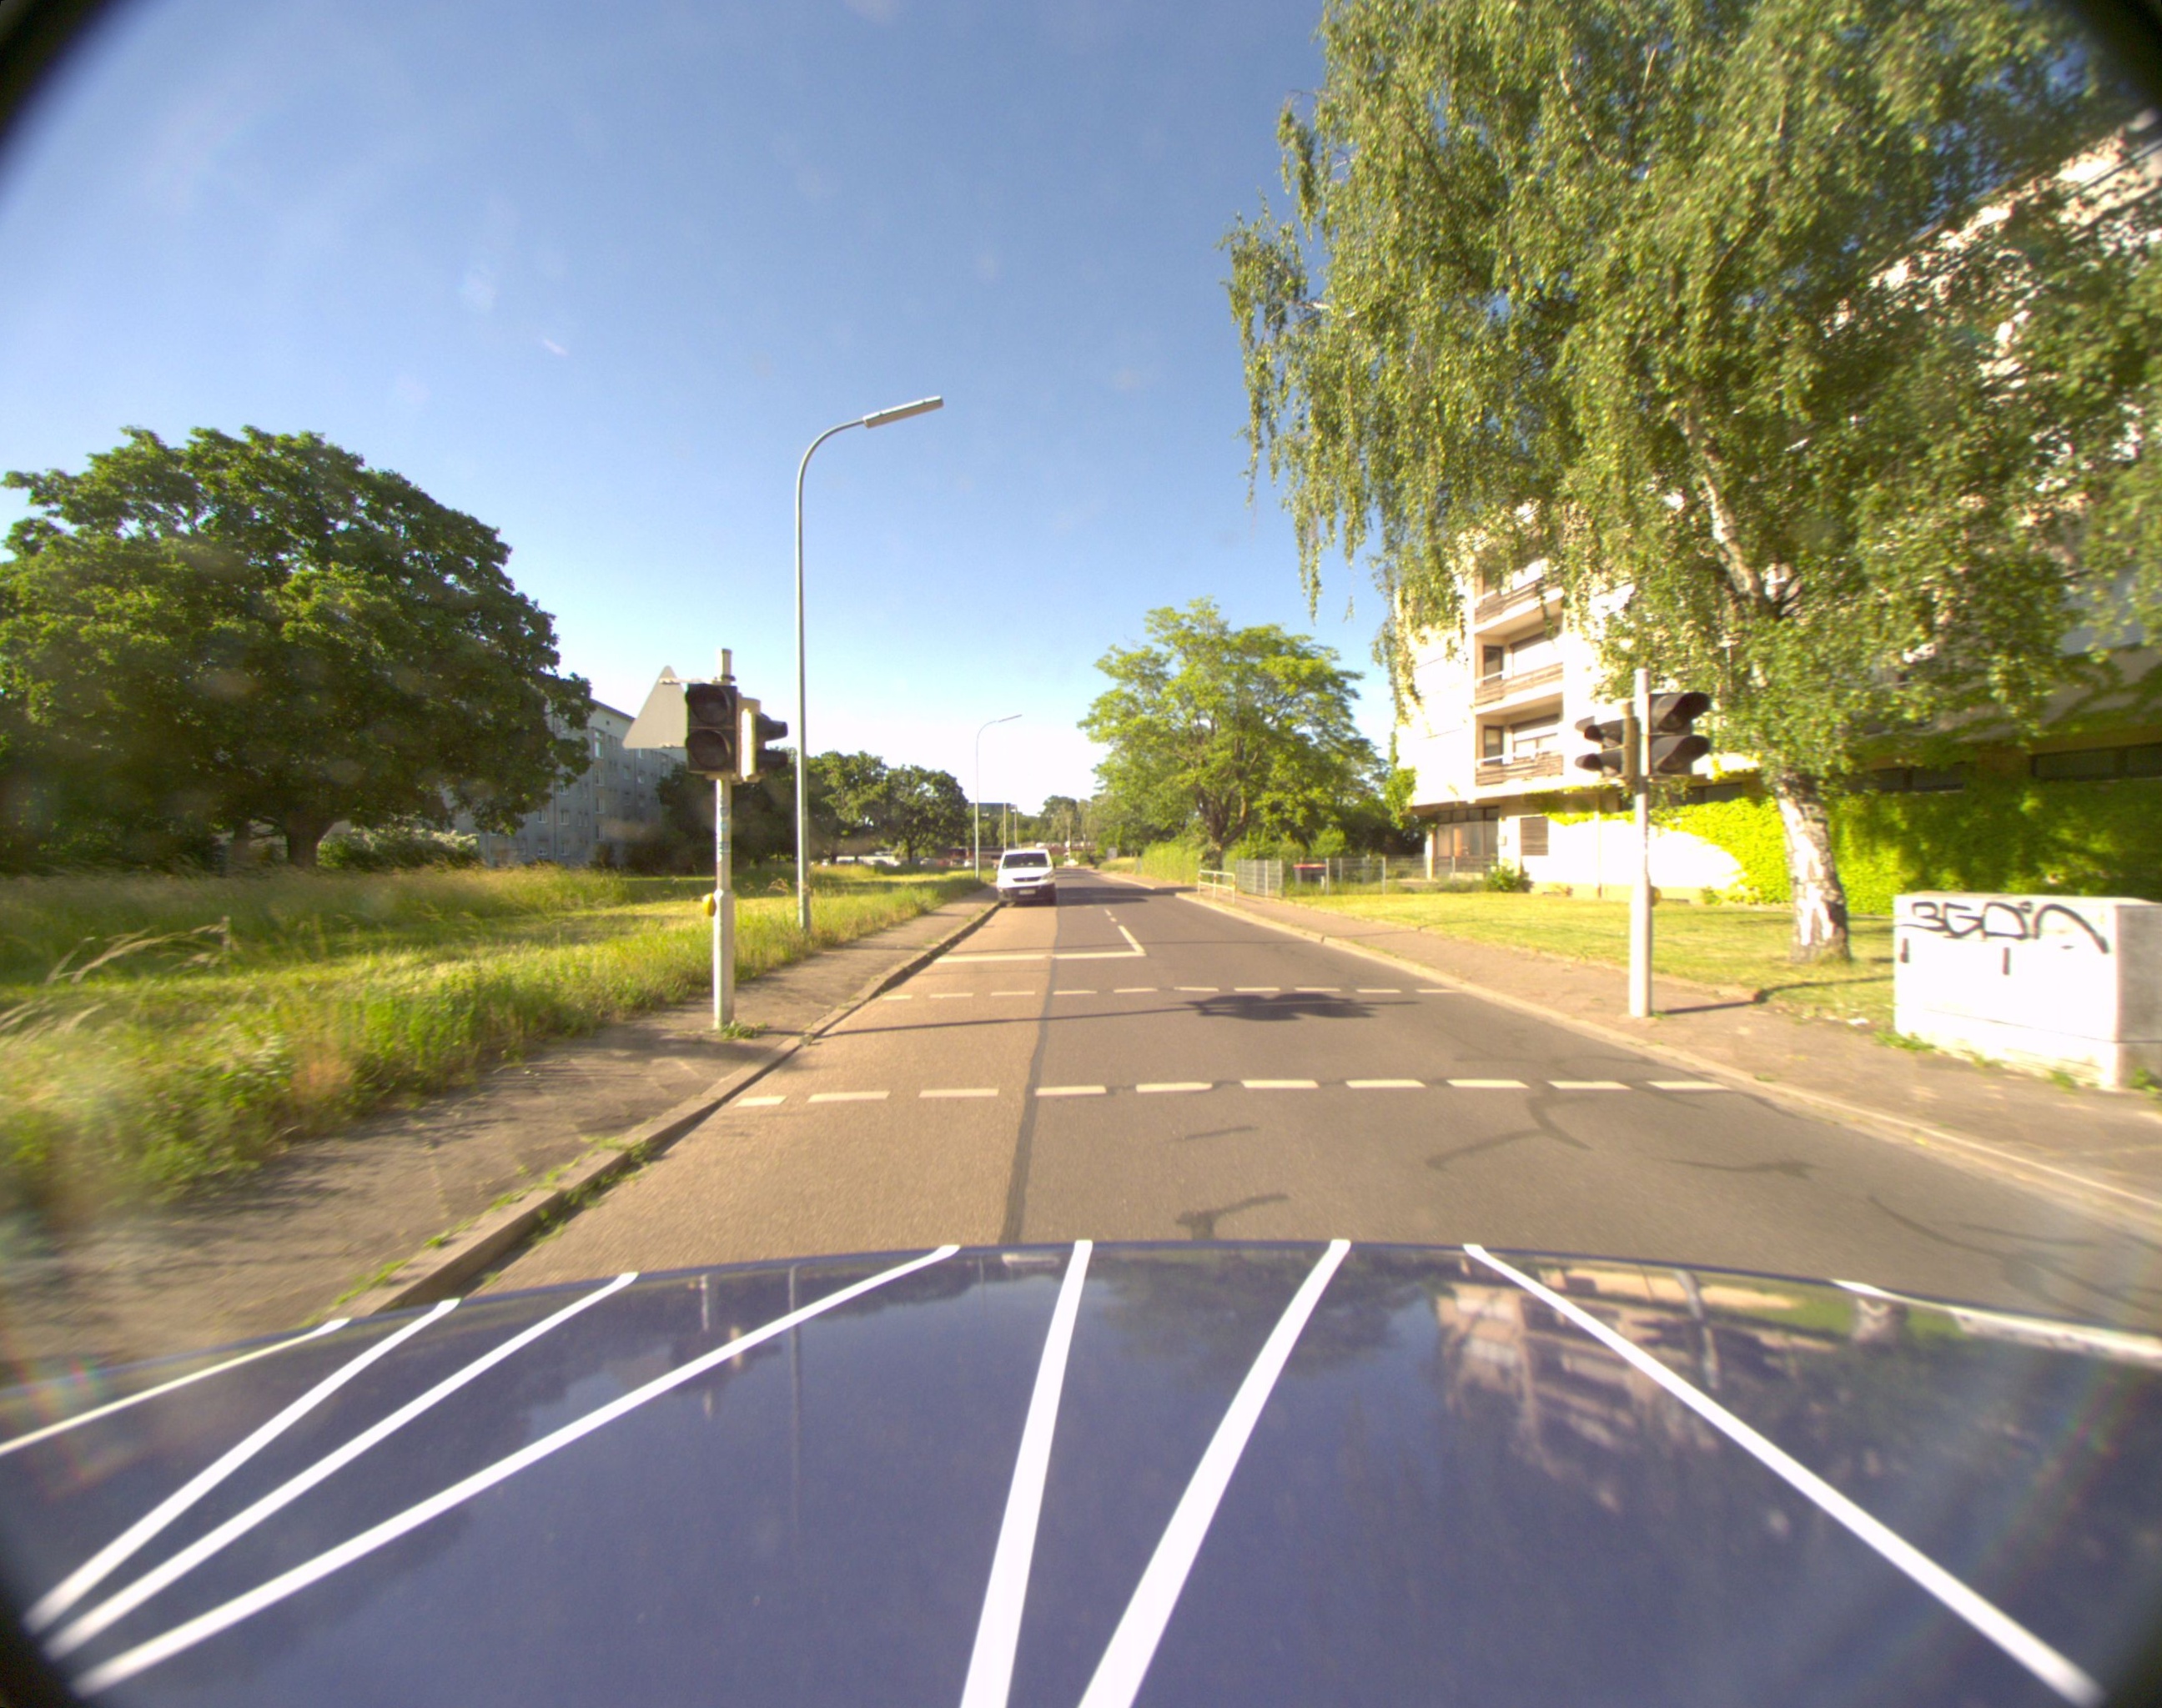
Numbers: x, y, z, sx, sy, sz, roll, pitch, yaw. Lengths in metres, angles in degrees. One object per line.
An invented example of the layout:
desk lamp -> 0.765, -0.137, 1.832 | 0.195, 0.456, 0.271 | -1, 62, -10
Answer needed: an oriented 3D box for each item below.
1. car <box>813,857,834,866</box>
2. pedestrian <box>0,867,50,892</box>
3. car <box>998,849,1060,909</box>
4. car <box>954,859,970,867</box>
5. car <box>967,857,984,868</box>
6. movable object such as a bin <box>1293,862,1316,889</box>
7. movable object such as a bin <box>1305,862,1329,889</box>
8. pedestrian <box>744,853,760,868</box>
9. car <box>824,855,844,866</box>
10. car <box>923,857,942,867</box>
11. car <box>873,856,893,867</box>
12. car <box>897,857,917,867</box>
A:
car -> -47.462, 1.352, 140.006 | 1.954, 1.552, 4.004 | 0, 0, 11
pedestrian -> -37.906, 0.912, 27.163 | 0.745, 0.843, 1.003 | 0, 0, -9
car -> -1.731, 0.786, 26.320 | 1.920, 1.860, 4.864 | -2, 0, -2
car -> -20.908, 1.632, 133.615 | 1.779, 1.316, 4.003 | 0, 0, 8
car -> -18.523, 1.423, 133.474 | 1.955, 1.849, 4.002 | 0, 0, 5
movable object such as a bin -> 8.582, 0.825, 29.211 | 0.623, 1.018, 0.710 | 0, 0, -6
movable object such as a bin -> 9.096, 0.832, 29.286 | 0.623, 1.018, 0.710 | 0, 0, -6
pedestrian -> -45.133, 0.870, 104.240 | 1.490, 2.019, 1.699 | 0, 0, 0
car -> -45.252, 1.169, 139.225 | 1.997, 2.002, 4.003 | 0, 0, 9
car -> -26.213, 1.439, 134.193 | 1.858, 1.763, 4.004 | 0, 0, 11
car -> -35.706, 1.373, 137.234 | 1.954, 1.763, 4.002 | 0, 1, 11
car -> -31.129, 1.424, 135.864 | 1.954, 1.763, 4.004 | 0, 0, 11
